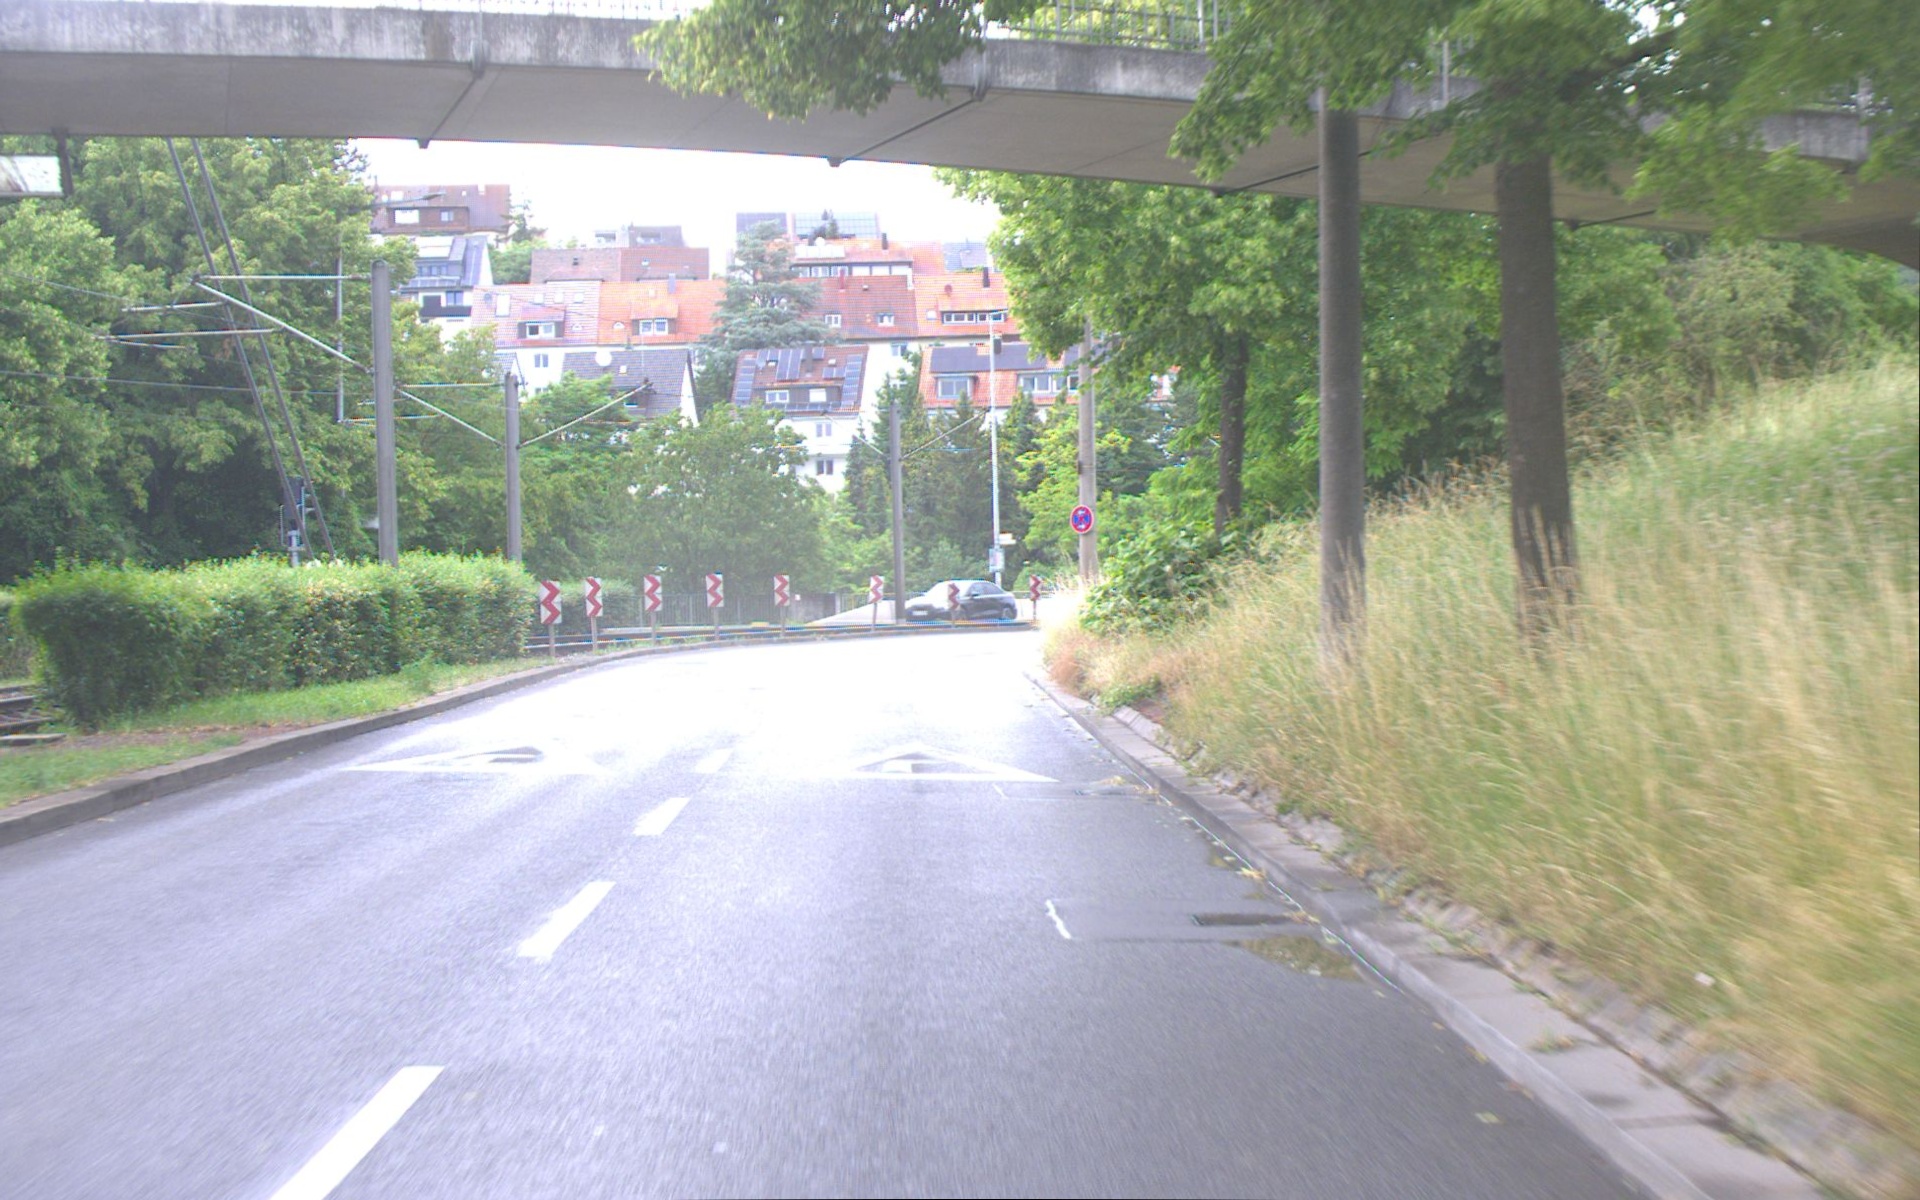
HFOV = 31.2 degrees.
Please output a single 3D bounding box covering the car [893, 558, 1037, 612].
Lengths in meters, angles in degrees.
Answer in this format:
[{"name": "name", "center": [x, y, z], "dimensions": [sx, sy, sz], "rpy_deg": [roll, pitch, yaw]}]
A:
[{"name": "car", "center": [0.158, -0.448, 100.907], "dimensions": [1.998, 1.404, 3.990], "rpy_deg": [-2, 1, 43]}]
